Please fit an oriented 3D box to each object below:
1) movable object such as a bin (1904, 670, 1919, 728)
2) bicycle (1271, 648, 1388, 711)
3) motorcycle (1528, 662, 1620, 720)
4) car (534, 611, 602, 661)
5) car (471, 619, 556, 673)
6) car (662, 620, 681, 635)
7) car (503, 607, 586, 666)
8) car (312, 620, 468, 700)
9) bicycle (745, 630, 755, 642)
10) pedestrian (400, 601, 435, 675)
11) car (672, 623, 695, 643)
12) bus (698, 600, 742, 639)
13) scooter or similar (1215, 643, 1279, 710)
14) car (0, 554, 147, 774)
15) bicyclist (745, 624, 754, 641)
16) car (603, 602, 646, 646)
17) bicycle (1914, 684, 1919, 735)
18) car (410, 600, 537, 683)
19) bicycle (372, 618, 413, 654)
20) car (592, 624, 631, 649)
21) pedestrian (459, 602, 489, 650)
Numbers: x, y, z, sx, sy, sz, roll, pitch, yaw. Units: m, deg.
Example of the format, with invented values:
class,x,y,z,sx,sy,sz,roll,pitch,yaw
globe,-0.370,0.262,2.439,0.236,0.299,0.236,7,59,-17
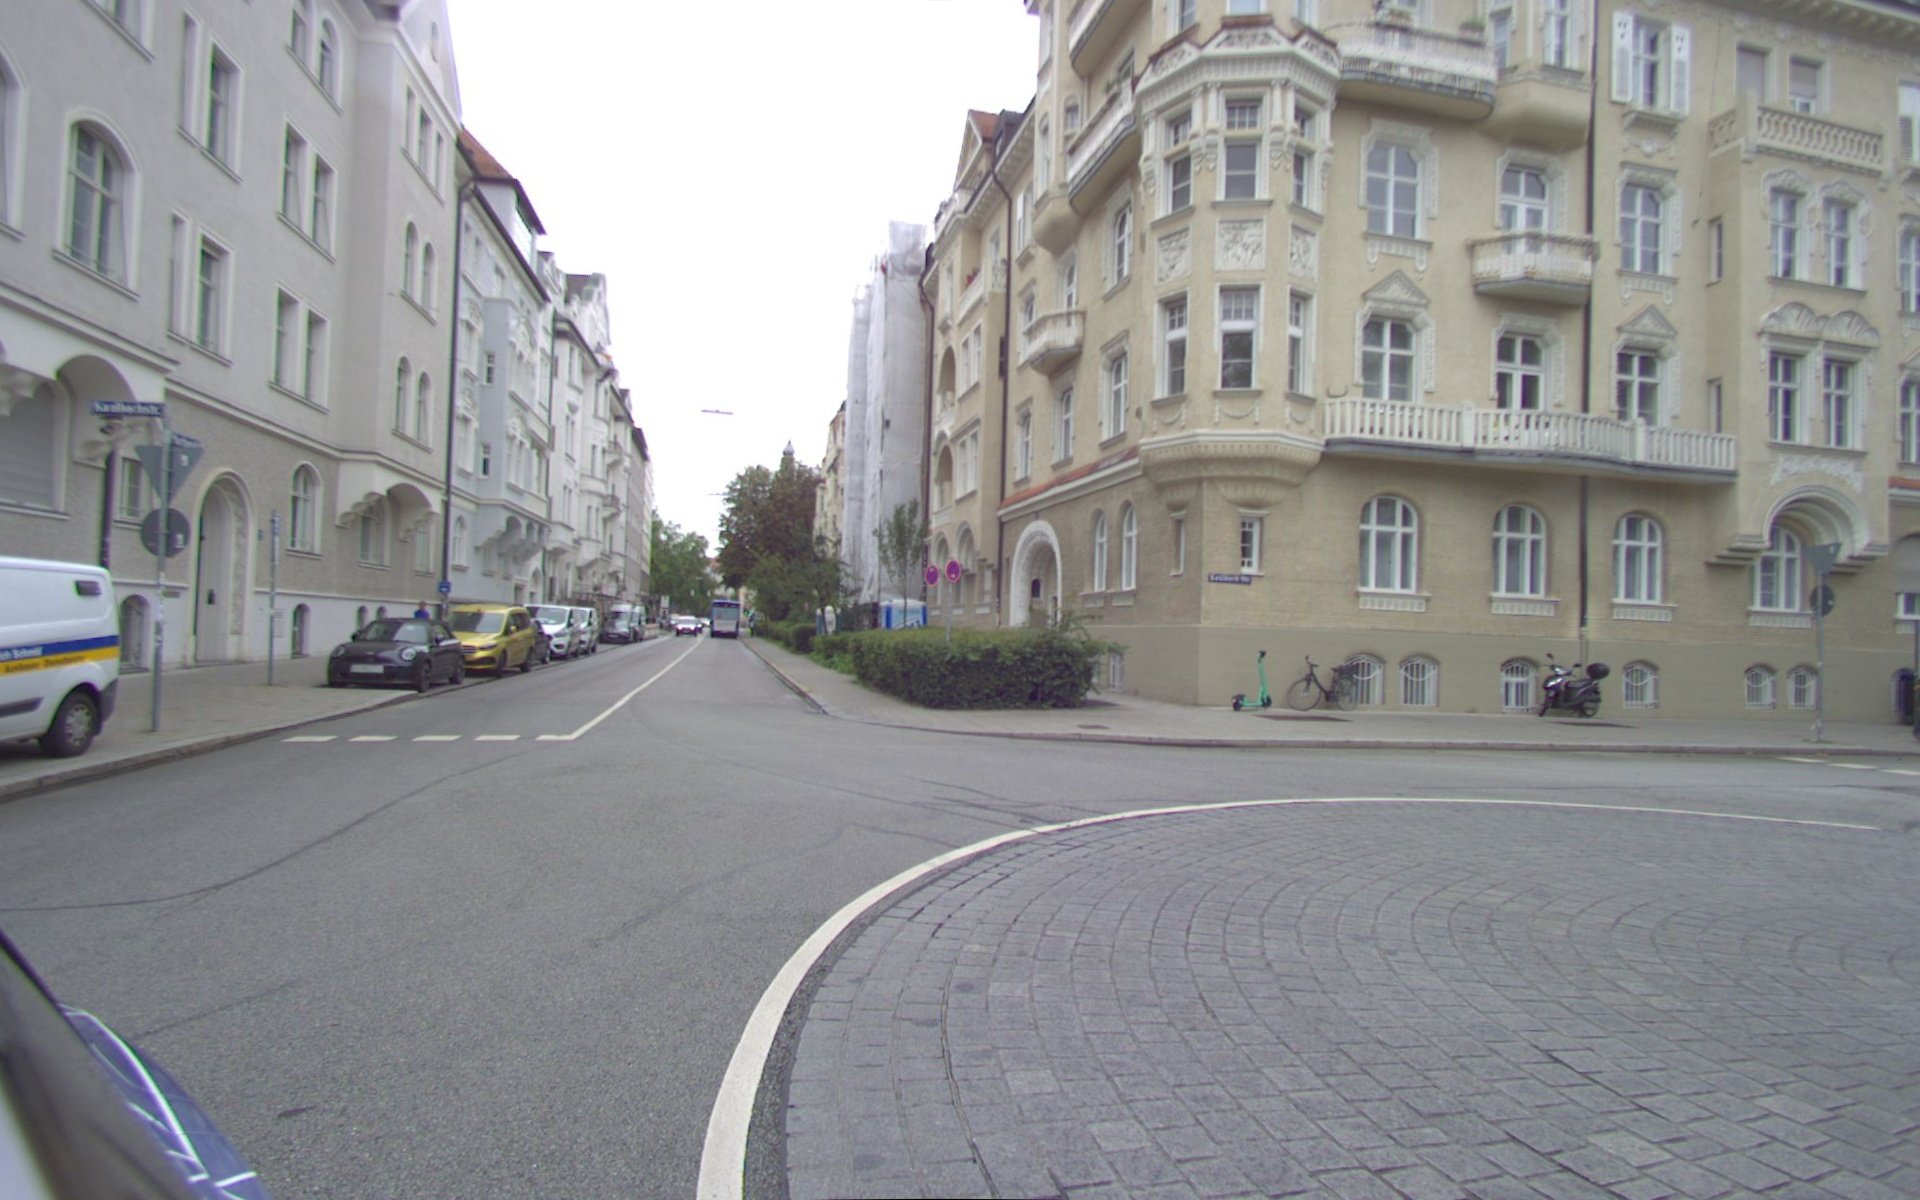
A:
class,x,y,z,sx,sy,sz,roll,pitch,yaw
movable object such as a bin,23.858,2.427,24.378,1.161,1.381,1.150,2,-2,-12
bicycle,7.622,1.643,20.871,2.300,1.212,0.701,2,-2,-18
motorcycle,13.390,1.979,22.073,1.716,1.195,0.744,2,-2,-17
car,-16.710,1.514,43.420,1.967,1.933,4.890,2,-2,-13
car,-13.886,1.408,31.647,1.612,1.525,3.894,2,-2,-12
car,-34.037,3.220,119.443,1.698,1.644,4.008,2,-2,-9
car,-15.149,1.316,37.146,1.967,1.933,4.898,2,-2,-13
car,-11.651,1.188,20.972,1.689,1.456,3.836,2,-2,-12
bicycle,-18.985,3.238,91.287,0.757,1.090,2.055,1,-1,-15
pedestrian,-15.208,1.063,28.377,0.575,2.029,0.729,2,-2,-10
car,-24.690,2.911,90.290,1.888,1.670,4.615,3,-2,-16
bus,-23.352,1.874,97.801,3.128,3.236,18.109,4,-2,-16
scooter or similar,5.730,1.518,20.185,1.262,1.281,0.460,3,-2,-31
car,-9.251,0.504,8.203,1.912,1.936,5.388,3,-2,-13
bicyclist,-18.985,2.917,91.272,0.757,1.504,1.063,1,-2,-15
car,-22.472,1.633,67.968,2.049,2.709,5.458,4,-2,-12
bicycle,21.562,2.387,21.839,1.941,1.077,0.656,3,-2,-22
car,-12.624,1.060,26.571,1.967,1.933,4.582,2,-2,-13
bicycle,-18.564,1.167,33.139,0.657,1.141,1.726,2,-2,-12
car,-21.188,2.200,61.693,1.764,1.418,4.255,3,-2,-13
pedestrian,-20.117,1.082,41.916,0.841,1.917,0.747,2,-2,-9
